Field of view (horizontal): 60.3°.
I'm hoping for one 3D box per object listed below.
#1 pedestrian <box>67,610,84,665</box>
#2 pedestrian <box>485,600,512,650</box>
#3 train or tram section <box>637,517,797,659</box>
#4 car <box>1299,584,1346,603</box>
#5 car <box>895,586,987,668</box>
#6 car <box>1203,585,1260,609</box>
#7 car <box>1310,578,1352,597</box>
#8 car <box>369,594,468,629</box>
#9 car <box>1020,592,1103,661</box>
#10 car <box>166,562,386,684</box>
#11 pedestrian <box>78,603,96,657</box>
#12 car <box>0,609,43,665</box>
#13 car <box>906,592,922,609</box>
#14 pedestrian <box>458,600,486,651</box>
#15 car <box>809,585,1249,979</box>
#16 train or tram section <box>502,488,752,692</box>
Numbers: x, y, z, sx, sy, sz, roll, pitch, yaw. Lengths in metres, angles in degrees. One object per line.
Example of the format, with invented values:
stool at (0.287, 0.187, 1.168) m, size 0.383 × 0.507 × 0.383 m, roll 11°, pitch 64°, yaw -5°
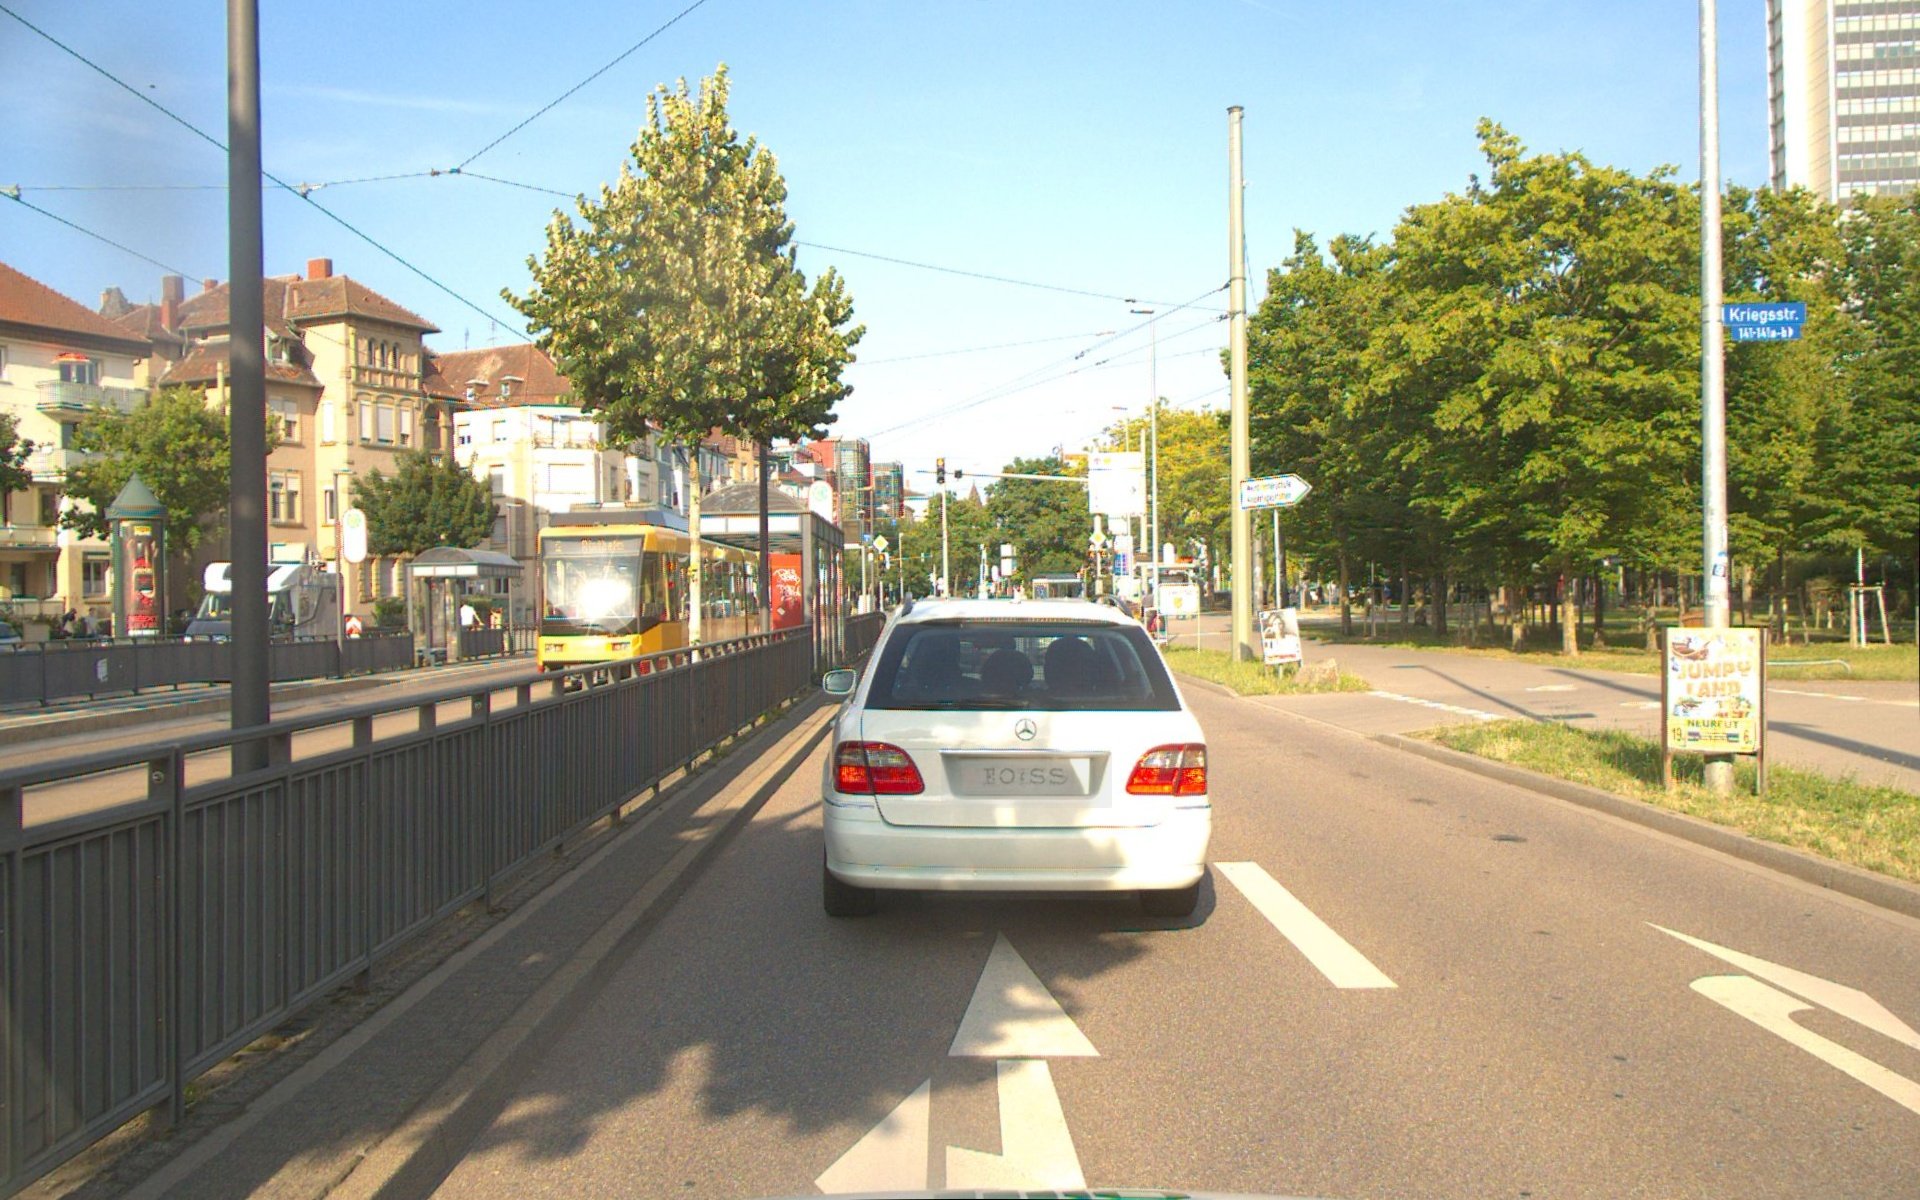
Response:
pedestrian at (-33.073, 1.398, 61.850) m, size 0.374 × 2.049 × 0.408 m, roll 0°, pitch 0°, yaw 18°
pedestrian at (-16.519, 0.895, 59.235) m, size 0.871 × 1.784 × 0.744 m, roll -1°, pitch 0°, yaw -12°
train or tram section at (-6.757, -0.351, 48.143) m, size 2.791 × 3.540 × 13.198 m, roll -1°, pitch 0°, yaw -1°
car at (34.006, -0.573, 155.264) m, size 3.941 × 1.680 × 1.982 m, roll -2°, pitch 0°, yaw -28°
car at (-0.365, 0.550, 36.653) m, size 1.750 × 1.719 × 4.002 m, roll -1°, pitch 0°, yaw 4°
car at (20.928, -0.227, 127.573) m, size 3.907 × 1.680 × 1.999 m, roll -2°, pitch 0°, yaw 25°
car at (36.091, -1.222, 160.928) m, size 3.902 × 1.680 × 2.002 m, roll -2°, pitch 0°, yaw 14°
car at (-27.033, 0.560, 82.694) m, size 2.159 × 1.656 × 4.716 m, roll 0°, pitch 0°, yaw 22°
car at (2.582, 0.639, 42.114) m, size 1.990 × 1.633 × 4.002 m, roll -1°, pitch 0°, yaw 3°
car at (-16.966, 0.493, 41.620) m, size 2.544 × 2.783 × 7.466 m, roll -1°, pitch 0°, yaw -1°
pedestrian at (-33.799, 1.162, 64.047) m, size 0.412 × 2.049 × 0.434 m, roll 0°, pitch 0°, yaw 18°
car at (-26.810, 0.991, 43.981) m, size 3.902 × 1.422 × 2.002 m, roll 0°, pitch 0°, yaw 14°
car at (-5.815, 0.039, 210.687) m, size 1.953 × 2.049 × 3.999 m, roll -2°, pitch 0°, yaw -1°
pedestrian at (-17.422, 0.900, 59.040) m, size 0.871 × 1.784 × 0.744 m, roll -1°, pitch 0°, yaw -12°
car at (0.290, 0.712, 8.625) m, size 1.722 × 1.530 × 4.000 m, roll -2°, pitch 0°, yaw 0°
train or tram section at (-6.596, -0.248, 35.266) m, size 2.791 × 3.540 × 13.198 m, roll 0°, pitch 1°, yaw -1°
